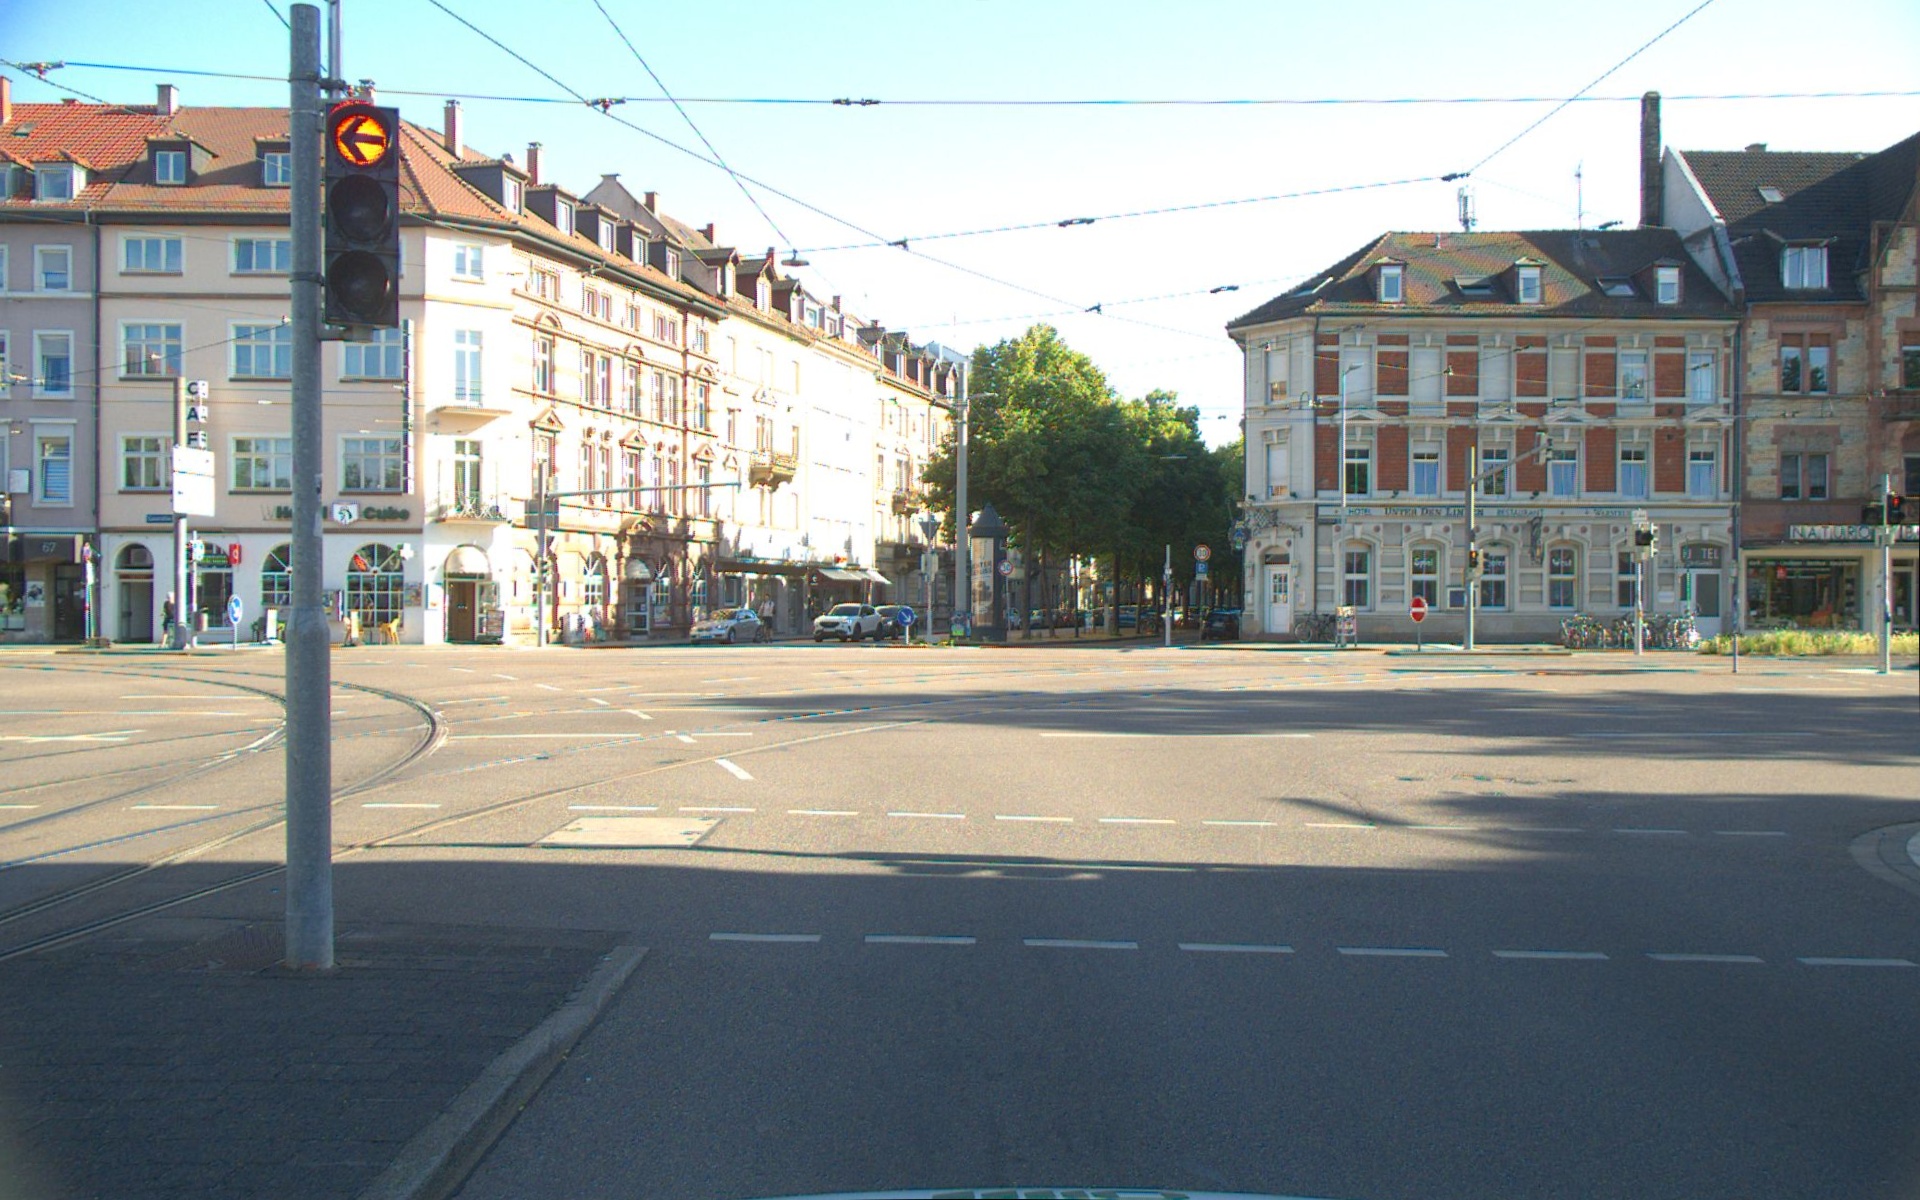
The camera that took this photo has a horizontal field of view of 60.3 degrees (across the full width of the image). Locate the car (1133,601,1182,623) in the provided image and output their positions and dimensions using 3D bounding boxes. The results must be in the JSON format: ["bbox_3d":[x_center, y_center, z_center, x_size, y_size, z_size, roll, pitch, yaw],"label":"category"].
[{"bbox_3d":[15.320,0.957,128.241,3.503,1.677,1.684,0,0,16],"label":"car"}]

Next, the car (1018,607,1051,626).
[{"bbox_3d":[5.533,1.192,122.496,1.642,1.378,3.593,0,0,16],"label":"car"}]

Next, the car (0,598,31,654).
[{"bbox_3d":[-32.152,0.786,52.251,4.276,1.741,2.306,1,0,1],"label":"car"}]

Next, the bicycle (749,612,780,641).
[{"bbox_3d":[-7.680,1.044,65.121,0.687,1.137,1.636,1,0,13],"label":"bicycle"}]

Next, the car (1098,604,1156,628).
[{"bbox_3d":[11.715,1.113,115.828,3.819,1.677,1.684,0,0,16],"label":"car"}]

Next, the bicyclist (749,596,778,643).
[{"bbox_3d":[-7.714,0.764,64.998,0.761,1.834,1.056,1,-1,13],"label":"bicyclist"}]

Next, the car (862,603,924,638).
[{"bbox_3d":[-2.948,0.885,73.546,1.642,1.509,3.950,0,0,16],"label":"car"}]

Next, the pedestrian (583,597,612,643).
[{"bbox_3d":[-13.839,0.761,63.173,0.759,1.699,0.831,1,-1,15],"label":"pedestrian"}]

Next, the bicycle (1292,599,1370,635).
[{"bbox_3d":[12.867,0.588,57.451,2.504,1.194,0.818,1,-1,-4],"label":"bicycle"}]

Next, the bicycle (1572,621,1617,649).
[{"bbox_3d":[20.481,1.121,53.449,0.645,0.855,2.160,1,0,0],"label":"bicycle"}]

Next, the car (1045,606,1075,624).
[{"bbox_3d":[7.892,1.211,130.838,1.642,1.378,3.593,0,0,16],"label":"car"}]

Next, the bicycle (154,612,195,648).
[{"bbox_3d":[-24.691,0.925,52.011,0.561,1.096,1.497,1,0,-1],"label":"bicycle"}]

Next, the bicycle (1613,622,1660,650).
[{"bbox_3d":[21.863,1.144,53.496,0.645,0.855,2.160,1,0,0],"label":"bicycle"}]

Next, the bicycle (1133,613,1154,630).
[{"bbox_3d":[11.052,1.294,99.621,0.625,1.039,1.840,1,0,-14],"label":"bicycle"}]

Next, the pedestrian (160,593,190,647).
[{"bbox_3d":[-24.687,0.628,52.030,0.570,1.699,0.752,1,-1,-1],"label":"pedestrian"}]

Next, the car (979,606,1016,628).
[{"bbox_3d":[2.565,1.136,111.333,1.642,1.378,3.593,0,0,16],"label":"car"}]

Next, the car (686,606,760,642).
[{"bbox_3d":[-9.540,0.931,66.739,1.642,1.378,3.593,0,0,16],"label":"car"}]

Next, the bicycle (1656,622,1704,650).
[{"bbox_3d":[23.280,1.169,53.521,0.645,0.855,2.160,1,0,0],"label":"bicycle"}]

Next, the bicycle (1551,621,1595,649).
[{"bbox_3d":[19.761,1.108,53.362,0.645,0.855,2.160,1,0,0],"label":"bicycle"}]

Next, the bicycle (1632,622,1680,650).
[{"bbox_3d":[22.491,1.155,53.475,0.645,0.855,2.160,1,0,0],"label":"bicycle"}]

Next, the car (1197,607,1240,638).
[{"bbox_3d":[12.958,1.104,82.743,1.642,1.509,3.950,0,0,16],"label":"car"}]

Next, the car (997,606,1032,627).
[{"bbox_3d":[3.822,1.155,115.509,1.642,1.378,3.593,0,0,16],"label":"car"}]

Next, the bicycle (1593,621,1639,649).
[{"bbox_3d":[21.193,1.133,53.462,0.645,0.855,2.160,1,0,0],"label":"bicycle"}]

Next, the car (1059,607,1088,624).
[{"bbox_3d":[9.317,1.247,135.889,1.642,1.378,3.593,0,0,16],"label":"car"}]

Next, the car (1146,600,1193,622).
[{"bbox_3d":[16.942,0.882,133.740,3.503,1.677,1.684,0,0,16],"label":"car"}]

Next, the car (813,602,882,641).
[{"bbox_3d":[-4.535,0.841,67.221,1.642,1.509,3.774,0,0,16],"label":"car"}]
